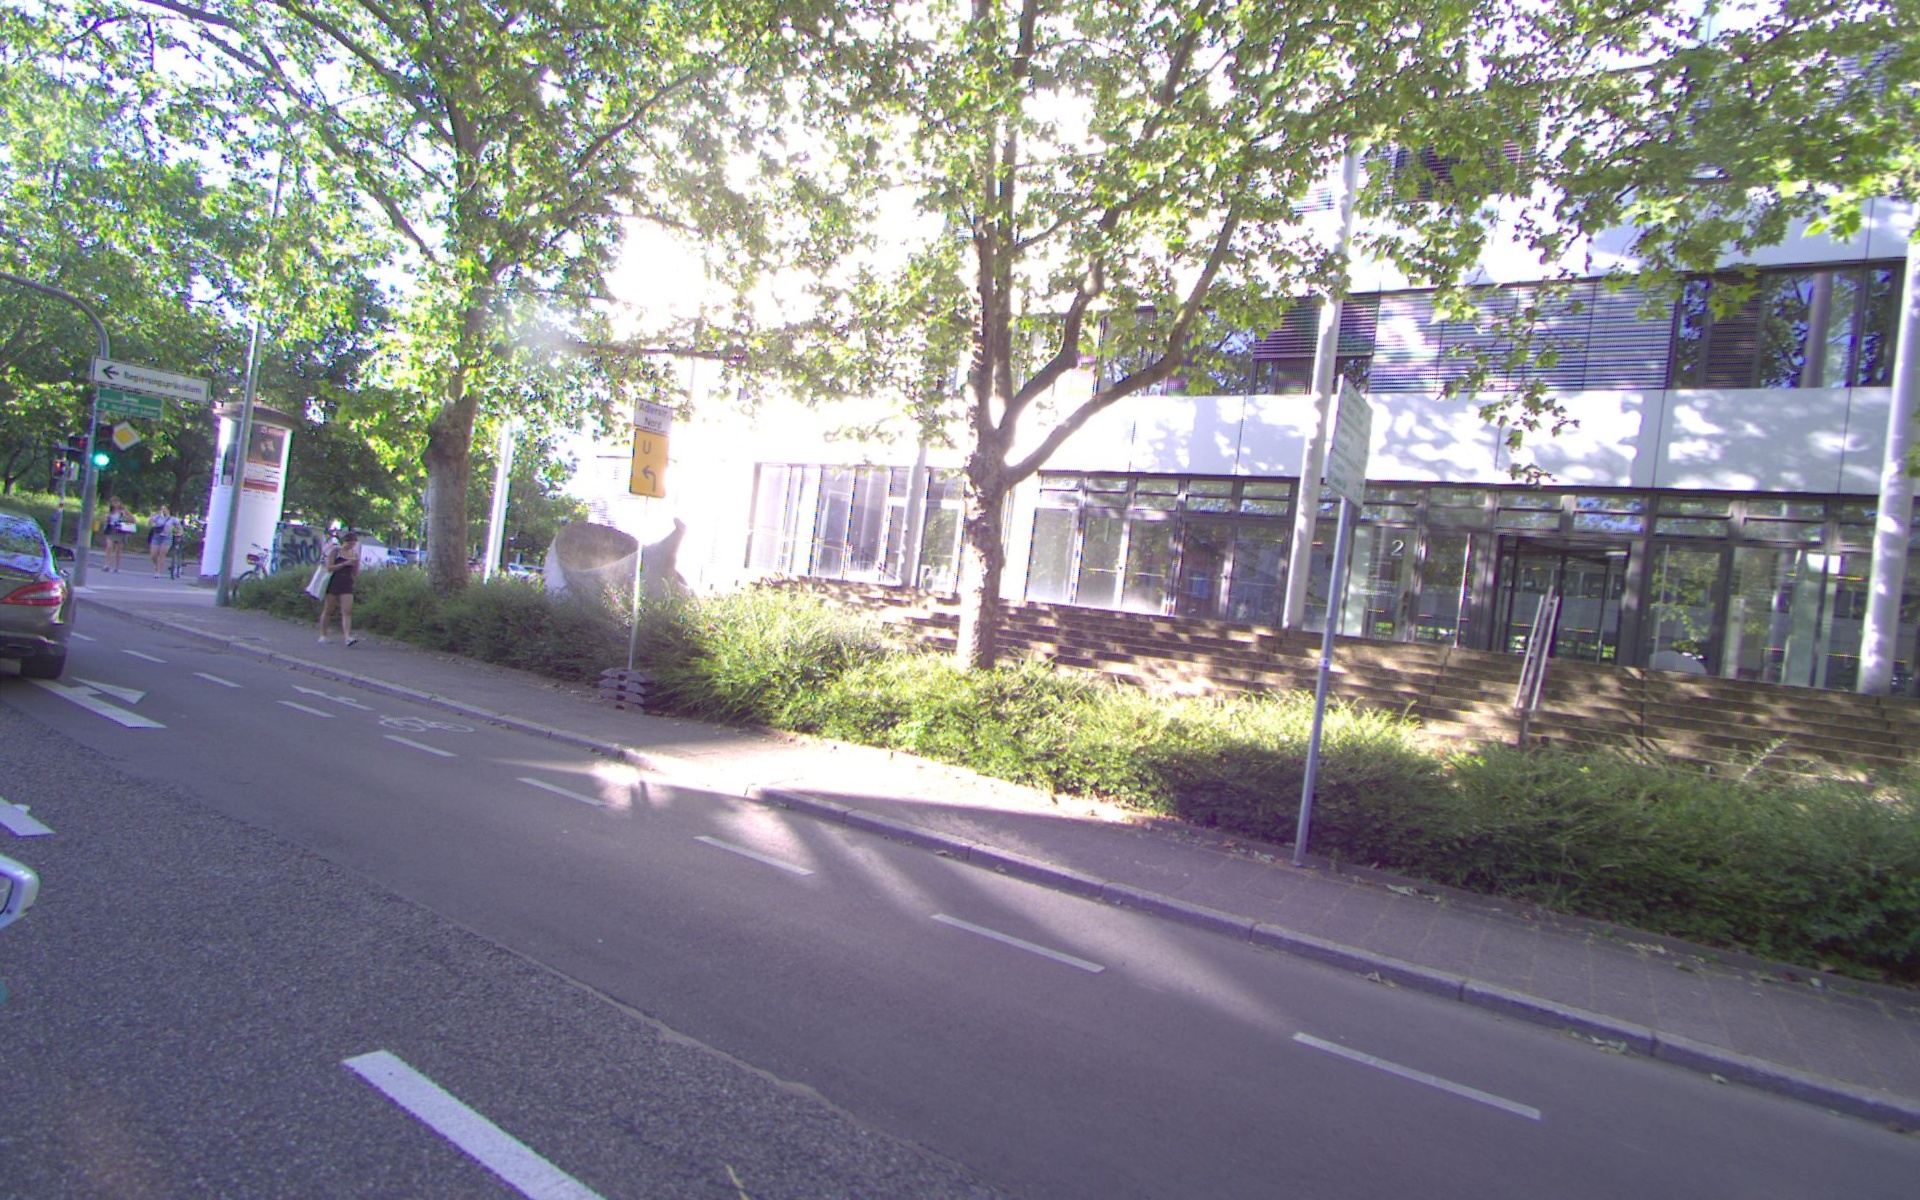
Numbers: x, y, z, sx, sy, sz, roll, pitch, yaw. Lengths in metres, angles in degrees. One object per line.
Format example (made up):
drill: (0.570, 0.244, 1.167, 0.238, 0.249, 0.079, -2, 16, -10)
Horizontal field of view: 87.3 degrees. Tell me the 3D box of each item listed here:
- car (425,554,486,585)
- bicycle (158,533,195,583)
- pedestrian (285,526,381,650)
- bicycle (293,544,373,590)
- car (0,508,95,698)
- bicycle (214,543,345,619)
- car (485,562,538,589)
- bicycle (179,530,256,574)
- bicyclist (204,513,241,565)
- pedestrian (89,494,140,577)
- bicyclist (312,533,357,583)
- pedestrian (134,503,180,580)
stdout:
car: (-32.445, -1.963, 64.709, 3.732, 1.499, 1.633, 6, -2, 31)
bicycle: (-19.038, -1.037, 24.436, 0.522, 1.113, 1.722, 8, -2, -40)
pedestrian: (-8.960, -0.172, 14.370, 0.893, 1.652, 0.797, 8, 4, 33)
bicycle: (-22.667, -1.170, 36.424, 0.649, 1.341, 2.293, 7, -2, 33)
car: (-9.367, -0.198, 8.943, 4.455, 1.445, 1.842, 6, -2, 42)
bicycle: (-13.218, -0.347, 19.611, 0.519, 1.203, 1.980, 7, -2, 31)
car: (-32.970, -1.833, 73.904, 3.732, 1.485, 1.575, 6, -2, 31)
bicycle: (-26.614, -1.708, 36.086, 0.589, 1.234, 2.035, 7, -2, 32)
bicyclist: (-26.499, -2.198, 36.133, 0.664, 1.717, 0.711, 7, -1, 32)
pedestrian: (-19.880, -1.510, 23.669, 0.728, 1.830, 0.900, 6, -1, -37)
bicyclist: (-22.622, -1.525, 36.388, 0.856, 1.634, 0.965, 7, -1, 34)
pedestrian: (-19.248, -1.403, 24.115, 0.680, 1.717, 0.960, 8, -1, -39)
